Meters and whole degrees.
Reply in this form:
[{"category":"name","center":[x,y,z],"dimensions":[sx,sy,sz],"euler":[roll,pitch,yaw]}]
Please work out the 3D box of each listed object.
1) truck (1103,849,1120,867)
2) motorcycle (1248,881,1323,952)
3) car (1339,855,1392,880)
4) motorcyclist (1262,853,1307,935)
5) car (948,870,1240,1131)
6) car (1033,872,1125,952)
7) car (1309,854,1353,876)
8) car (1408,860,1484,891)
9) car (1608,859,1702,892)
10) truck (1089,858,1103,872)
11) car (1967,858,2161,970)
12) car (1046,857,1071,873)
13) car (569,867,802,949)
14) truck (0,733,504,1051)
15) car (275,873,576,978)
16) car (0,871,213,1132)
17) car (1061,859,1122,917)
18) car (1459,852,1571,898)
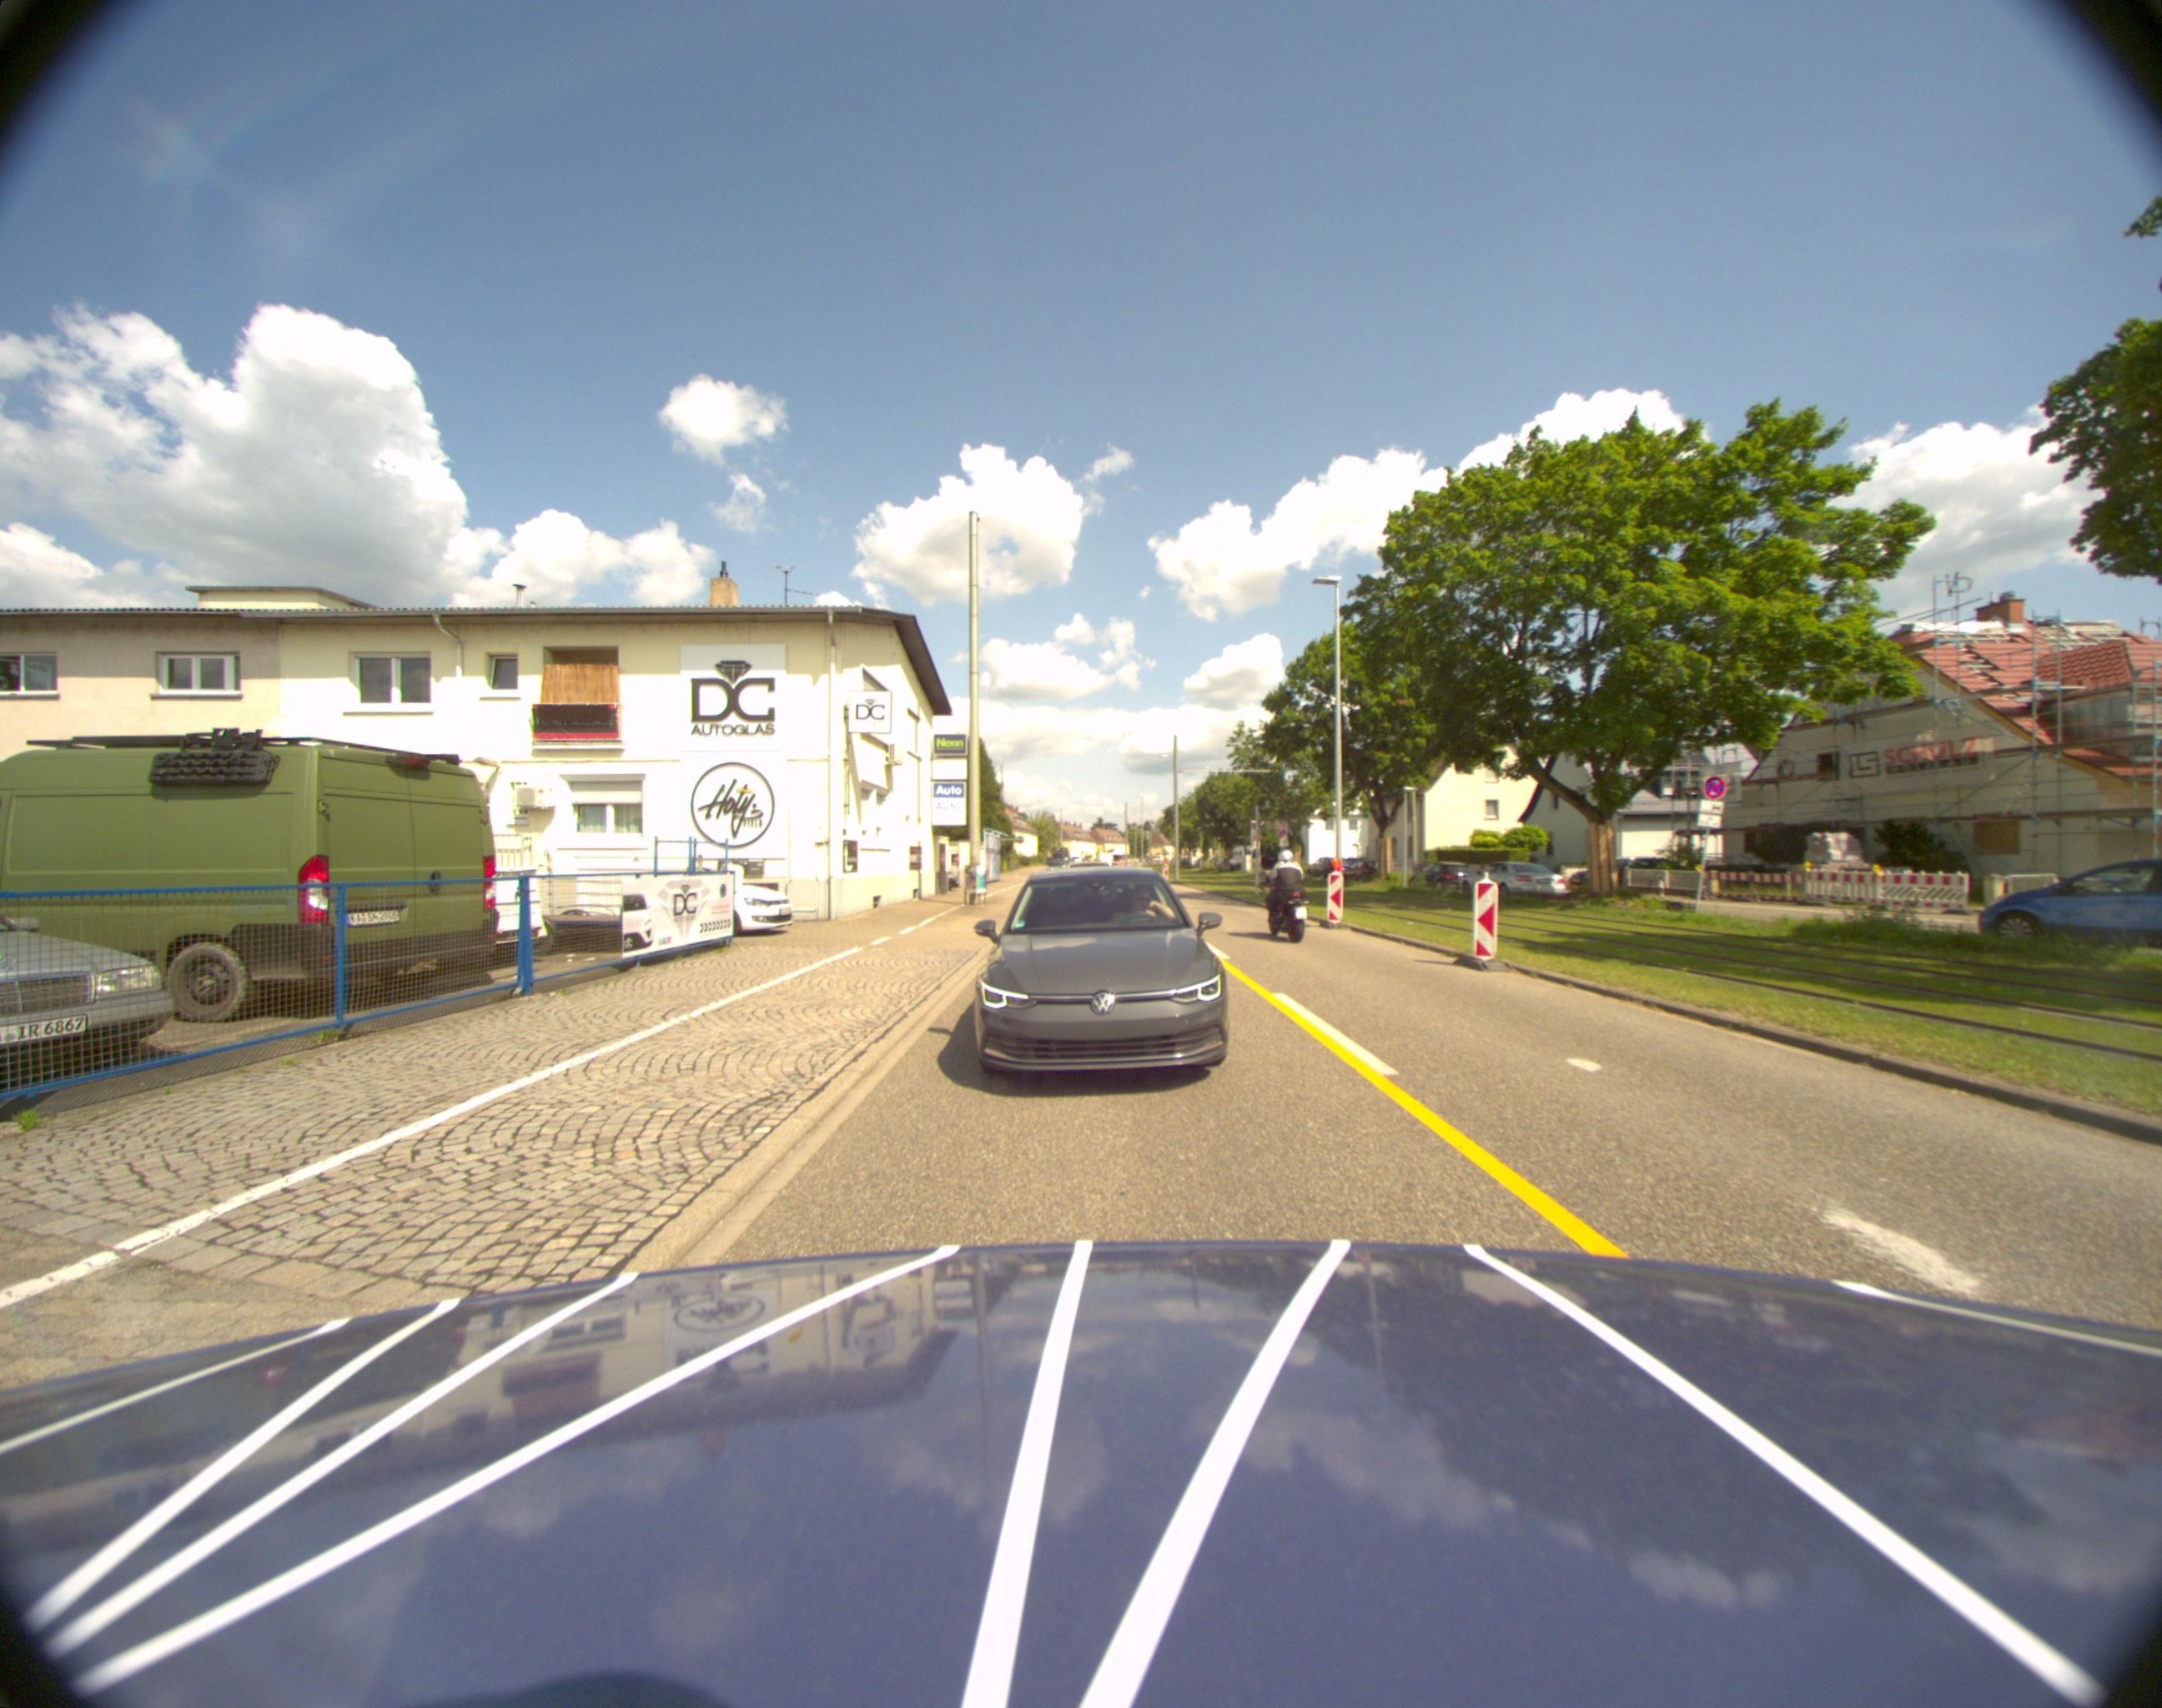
[{"category":"truck","center":[5.077,0.637,125.135],"dimensions":[2.665,2.786,7.539],"euler":[-2,1,3]},{"category":"motorcycle","center":[3.627,1.071,13.705],"dimensions":[0.707,1.036,2.465],"euler":[0,1,1]},{"category":"car","center":[16.595,0.773,44.540],"dimensions":[1.636,1.294,3.999],"euler":[-2,1,1]},{"category":"motorcyclist","center":[3.638,0.701,13.641],"dimensions":[0.651,1.434,0.588],"euler":[0,1,1]},{"category":"car","center":[0.131,0.947,6.829],"dimensions":[1.743,1.410,4.381],"euler":[-2,1,1]},{"category":"car","center":[0.009,1.043,14.989],"dimensions":[1.555,1.216,3.729],"euler":[-2,1,1]},{"category":"car","center":[16.594,0.706,50.539],"dimensions":[1.636,1.294,3.999],"euler":[-2,1,1]},{"category":"car","center":[16.570,0.935,34.686],"dimensions":[1.625,1.235,3.786],"euler":[-2,1,1]},{"category":"car","center":[25.937,0.990,34.442],"dimensions":[3.238,1.374,1.490],"euler":[-2,1,30]},{"category":"truck","center":[3.547,2.502,175.056],"dimensions":[2.631,2.871,7.926],"euler":[-2,1,5]},{"category":"car","center":[16.236,0.869,11.250],"dimensions":[1.672,1.504,3.930],"euler":[-2,1,0]},{"category":"car","center":[-2.056,0.995,71.119],"dimensions":[1.823,1.412,4.002],"euler":[0,0,7]},{"category":"car","center":[-7.621,1.021,14.832],"dimensions":[3.725,1.350,1.518],"euler":[-2,1,4]},{"category":"truck","center":[-8.746,0.358,7.624],"dimensions":[4.181,2.645,2.108],"euler":[-2,1,2]},{"category":"car","center":[-8.926,0.937,10.495],"dimensions":[3.033,1.267,1.332],"euler":[1,1,2]},{"category":"car","center":[-8.493,0.964,4.831],"dimensions":[4.257,1.499,1.828],"euler":[-2,1,8]},{"category":"car","center":[0.303,0.928,22.090],"dimensions":[1.594,1.418,3.707],"euler":[-2,1,1]},{"category":"car","center":[16.380,0.745,28.964],"dimensions":[1.707,1.504,4.524],"euler":[-2,1,0]}]
